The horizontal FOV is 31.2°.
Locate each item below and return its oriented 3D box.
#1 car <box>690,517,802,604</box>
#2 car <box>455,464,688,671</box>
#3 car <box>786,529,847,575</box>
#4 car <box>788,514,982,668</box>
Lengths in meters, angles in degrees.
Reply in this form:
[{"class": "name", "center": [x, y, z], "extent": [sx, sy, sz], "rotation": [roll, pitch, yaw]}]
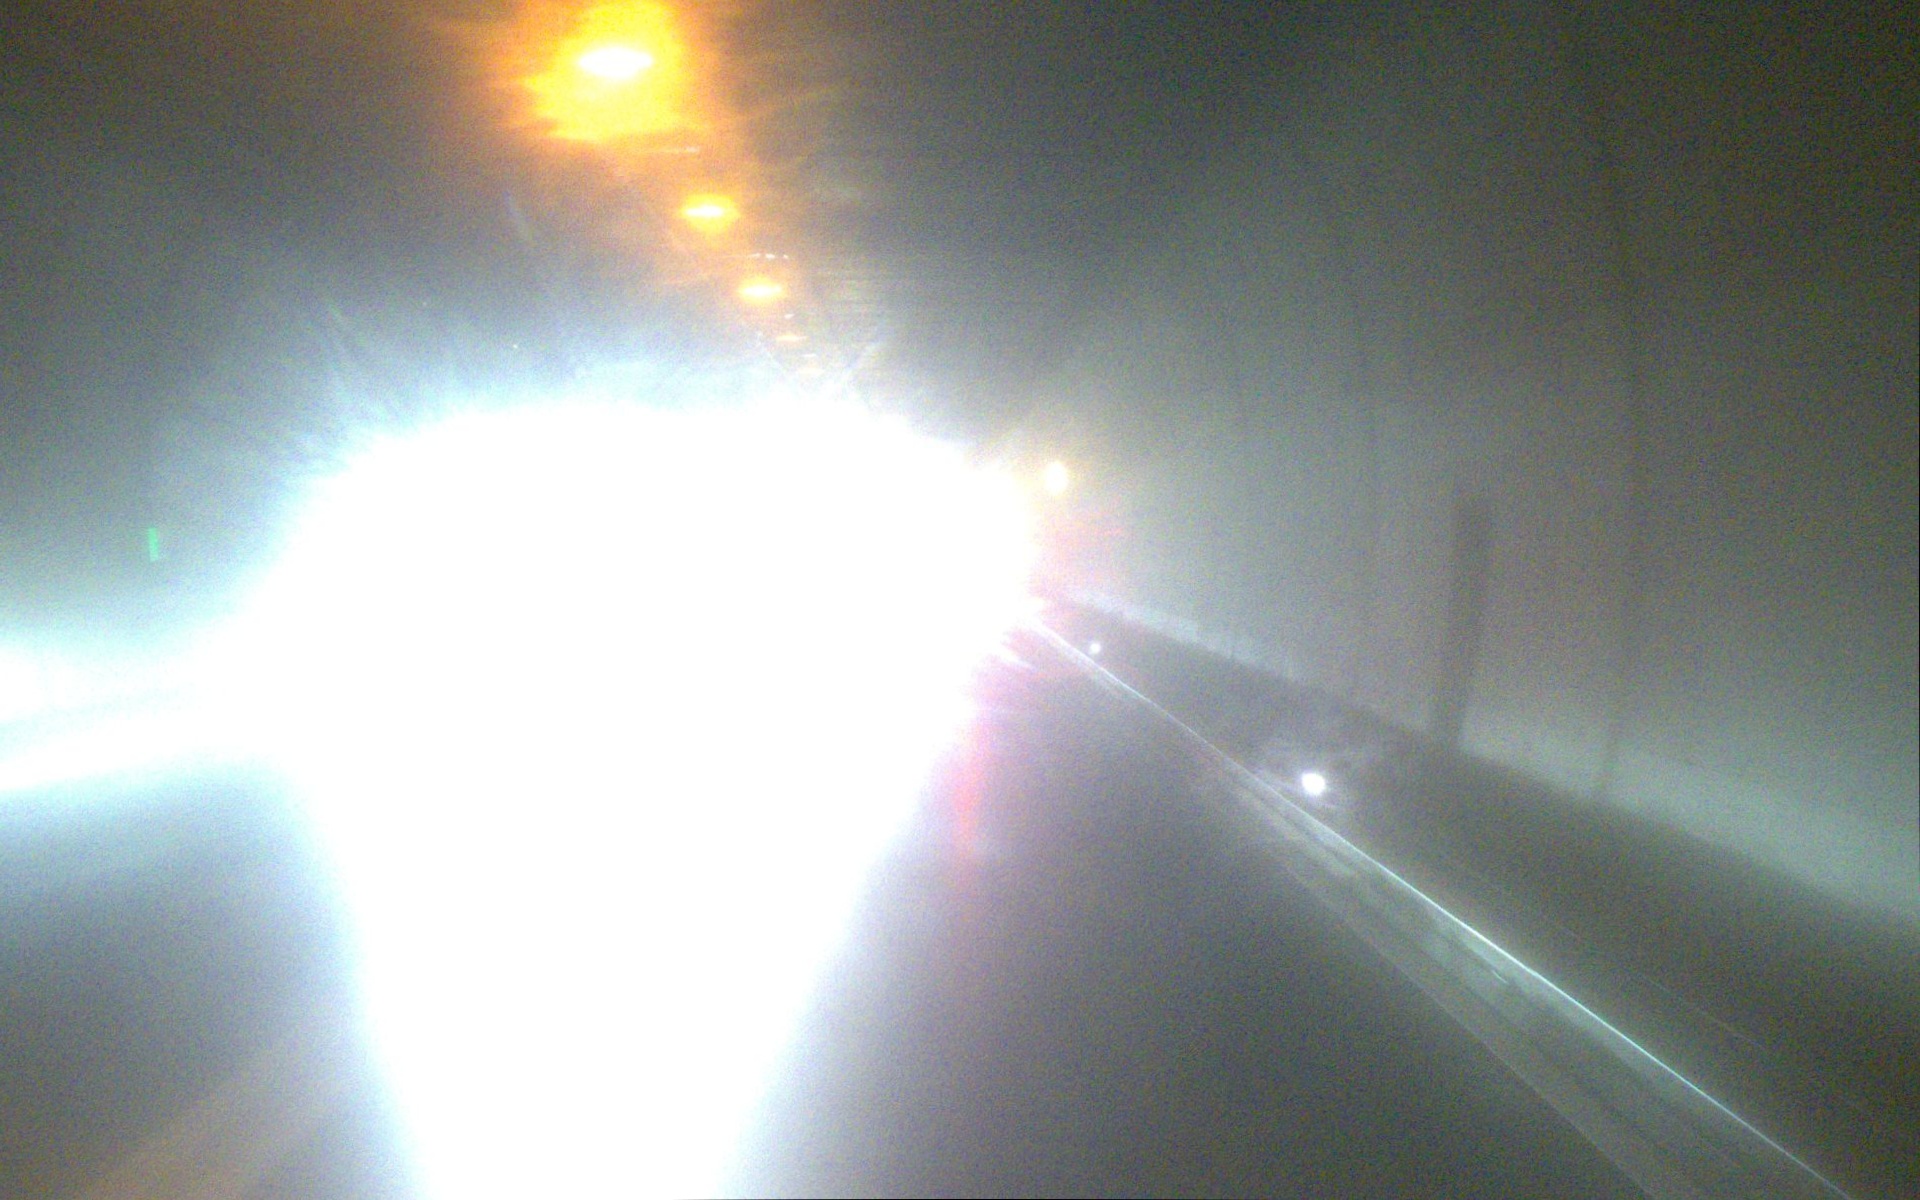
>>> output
[{"class": "car", "center": [-4.165, -0.783, 67.450], "extent": [1.993, 1.645, 4.000], "rotation": [0, 1, -1]}, {"class": "car", "center": [-3.957, -0.358, 35.599], "extent": [1.993, 2.007, 4.000], "rotation": [0, 1, -1]}, {"class": "car", "center": [-3.947, -1.332, 95.243], "extent": [1.551, 1.240, 4.000], "rotation": [-1, 1, -1]}, {"class": "car", "center": [-0.833, -0.135, 39.221], "extent": [2.089, 1.656, 4.000], "rotation": [0, 1, -1]}]
